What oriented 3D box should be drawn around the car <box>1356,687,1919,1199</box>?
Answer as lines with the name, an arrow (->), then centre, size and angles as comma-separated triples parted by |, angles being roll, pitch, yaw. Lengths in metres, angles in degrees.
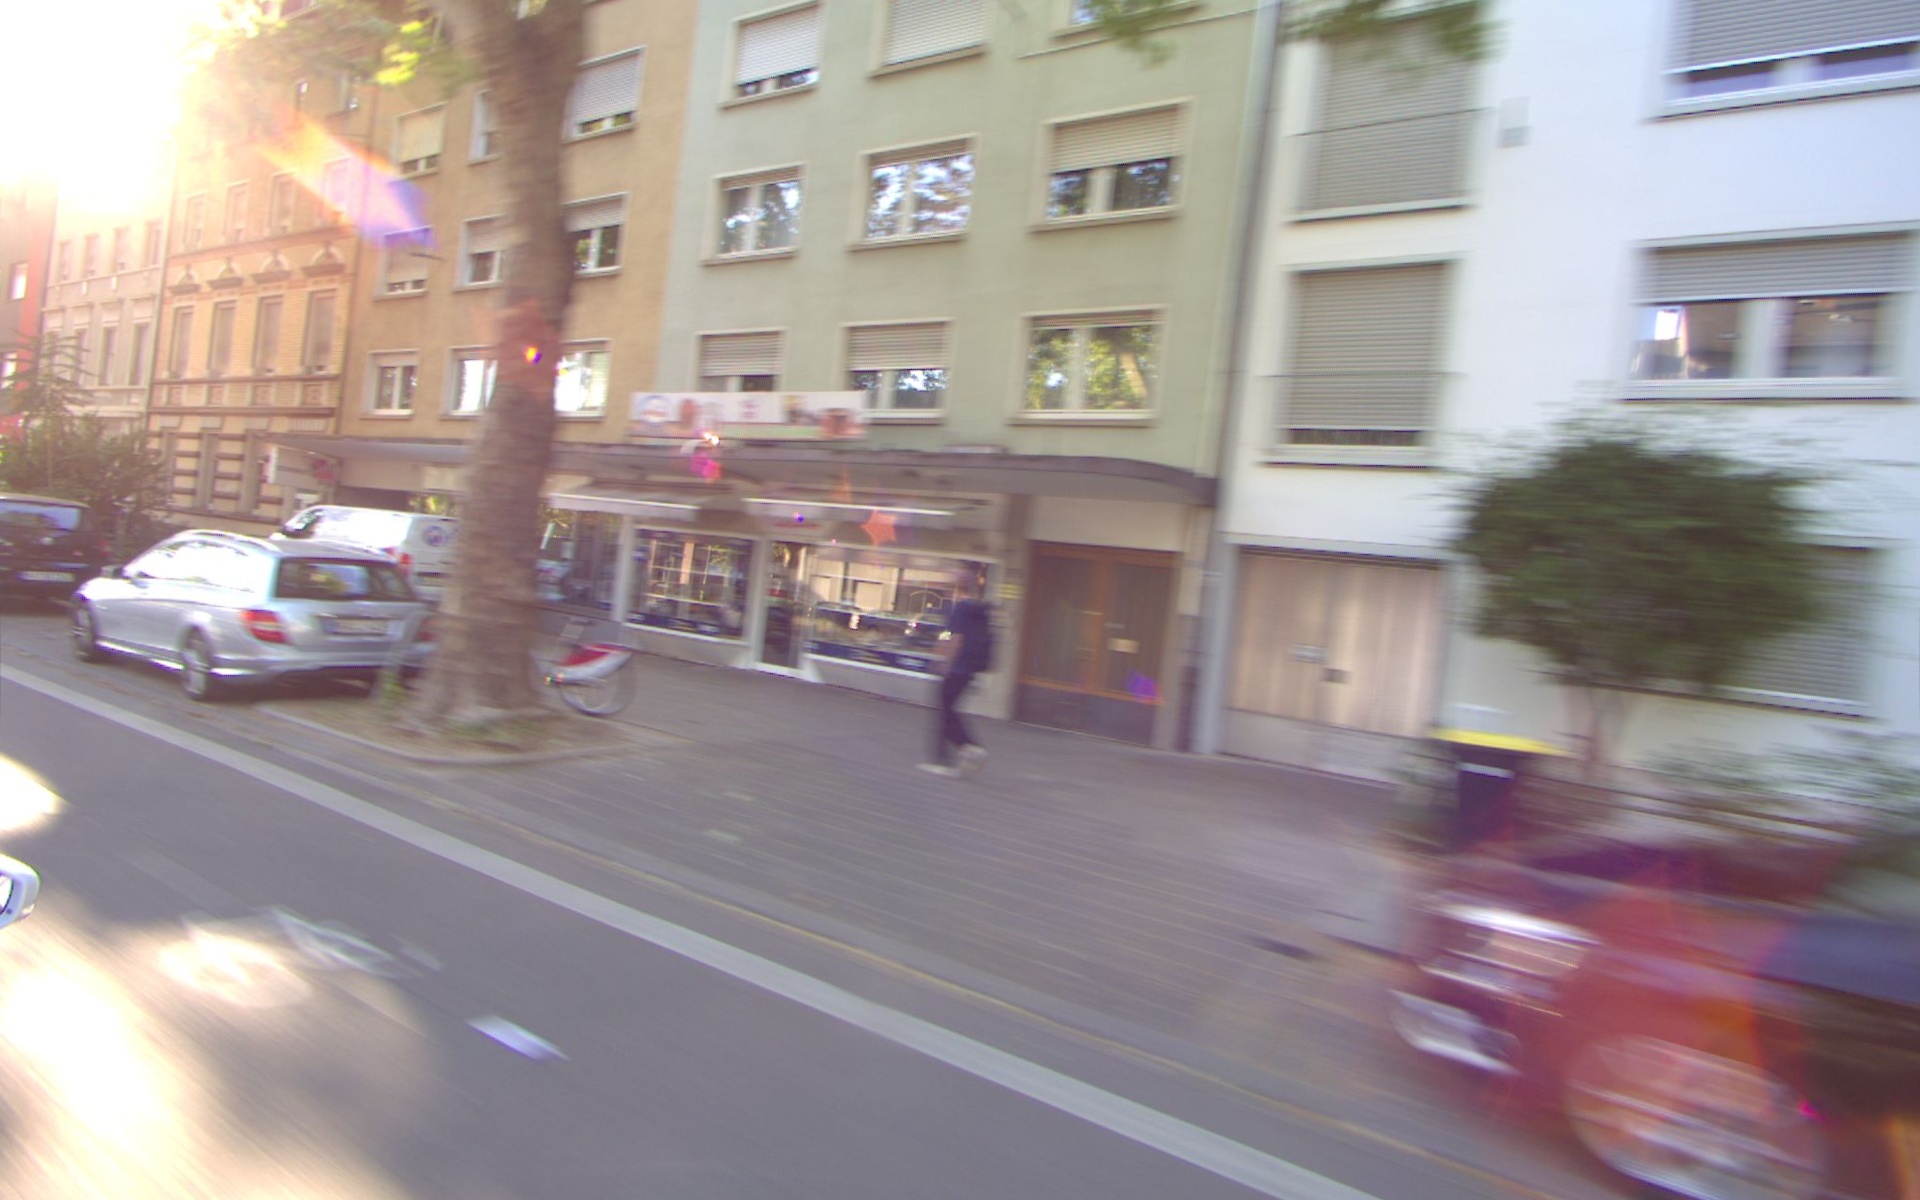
car -> 3.691, 1.292, 3.056 | 4.292, 1.433, 1.710 | 6, 1, 32

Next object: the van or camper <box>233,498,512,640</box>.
van or camper -> -10.741, -0.607, 18.261 | 5.301, 1.946, 1.945 | 7, 0, 31

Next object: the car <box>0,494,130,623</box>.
car -> -13.577, -0.717, 14.131 | 3.933, 1.564, 1.656 | 7, 0, 31

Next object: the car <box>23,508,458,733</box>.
car -> -7.238, 0.125, 9.969 | 4.697, 1.561, 1.697 | 7, -1, 31

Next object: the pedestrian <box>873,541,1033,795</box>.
pedestrian -> -0.060, 0.567, 8.857 | 0.995, 2.039, 0.683 | 7, 2, 31

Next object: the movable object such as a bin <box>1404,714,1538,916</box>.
movable object such as a bin -> 3.436, 1.404, 6.774 | 0.654, 1.172, 0.617 | 7, -1, 29

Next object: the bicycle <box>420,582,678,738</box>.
bicycle -> -3.867, 0.562, 9.531 | 2.042, 1.143, 0.773 | 8, -2, 11
